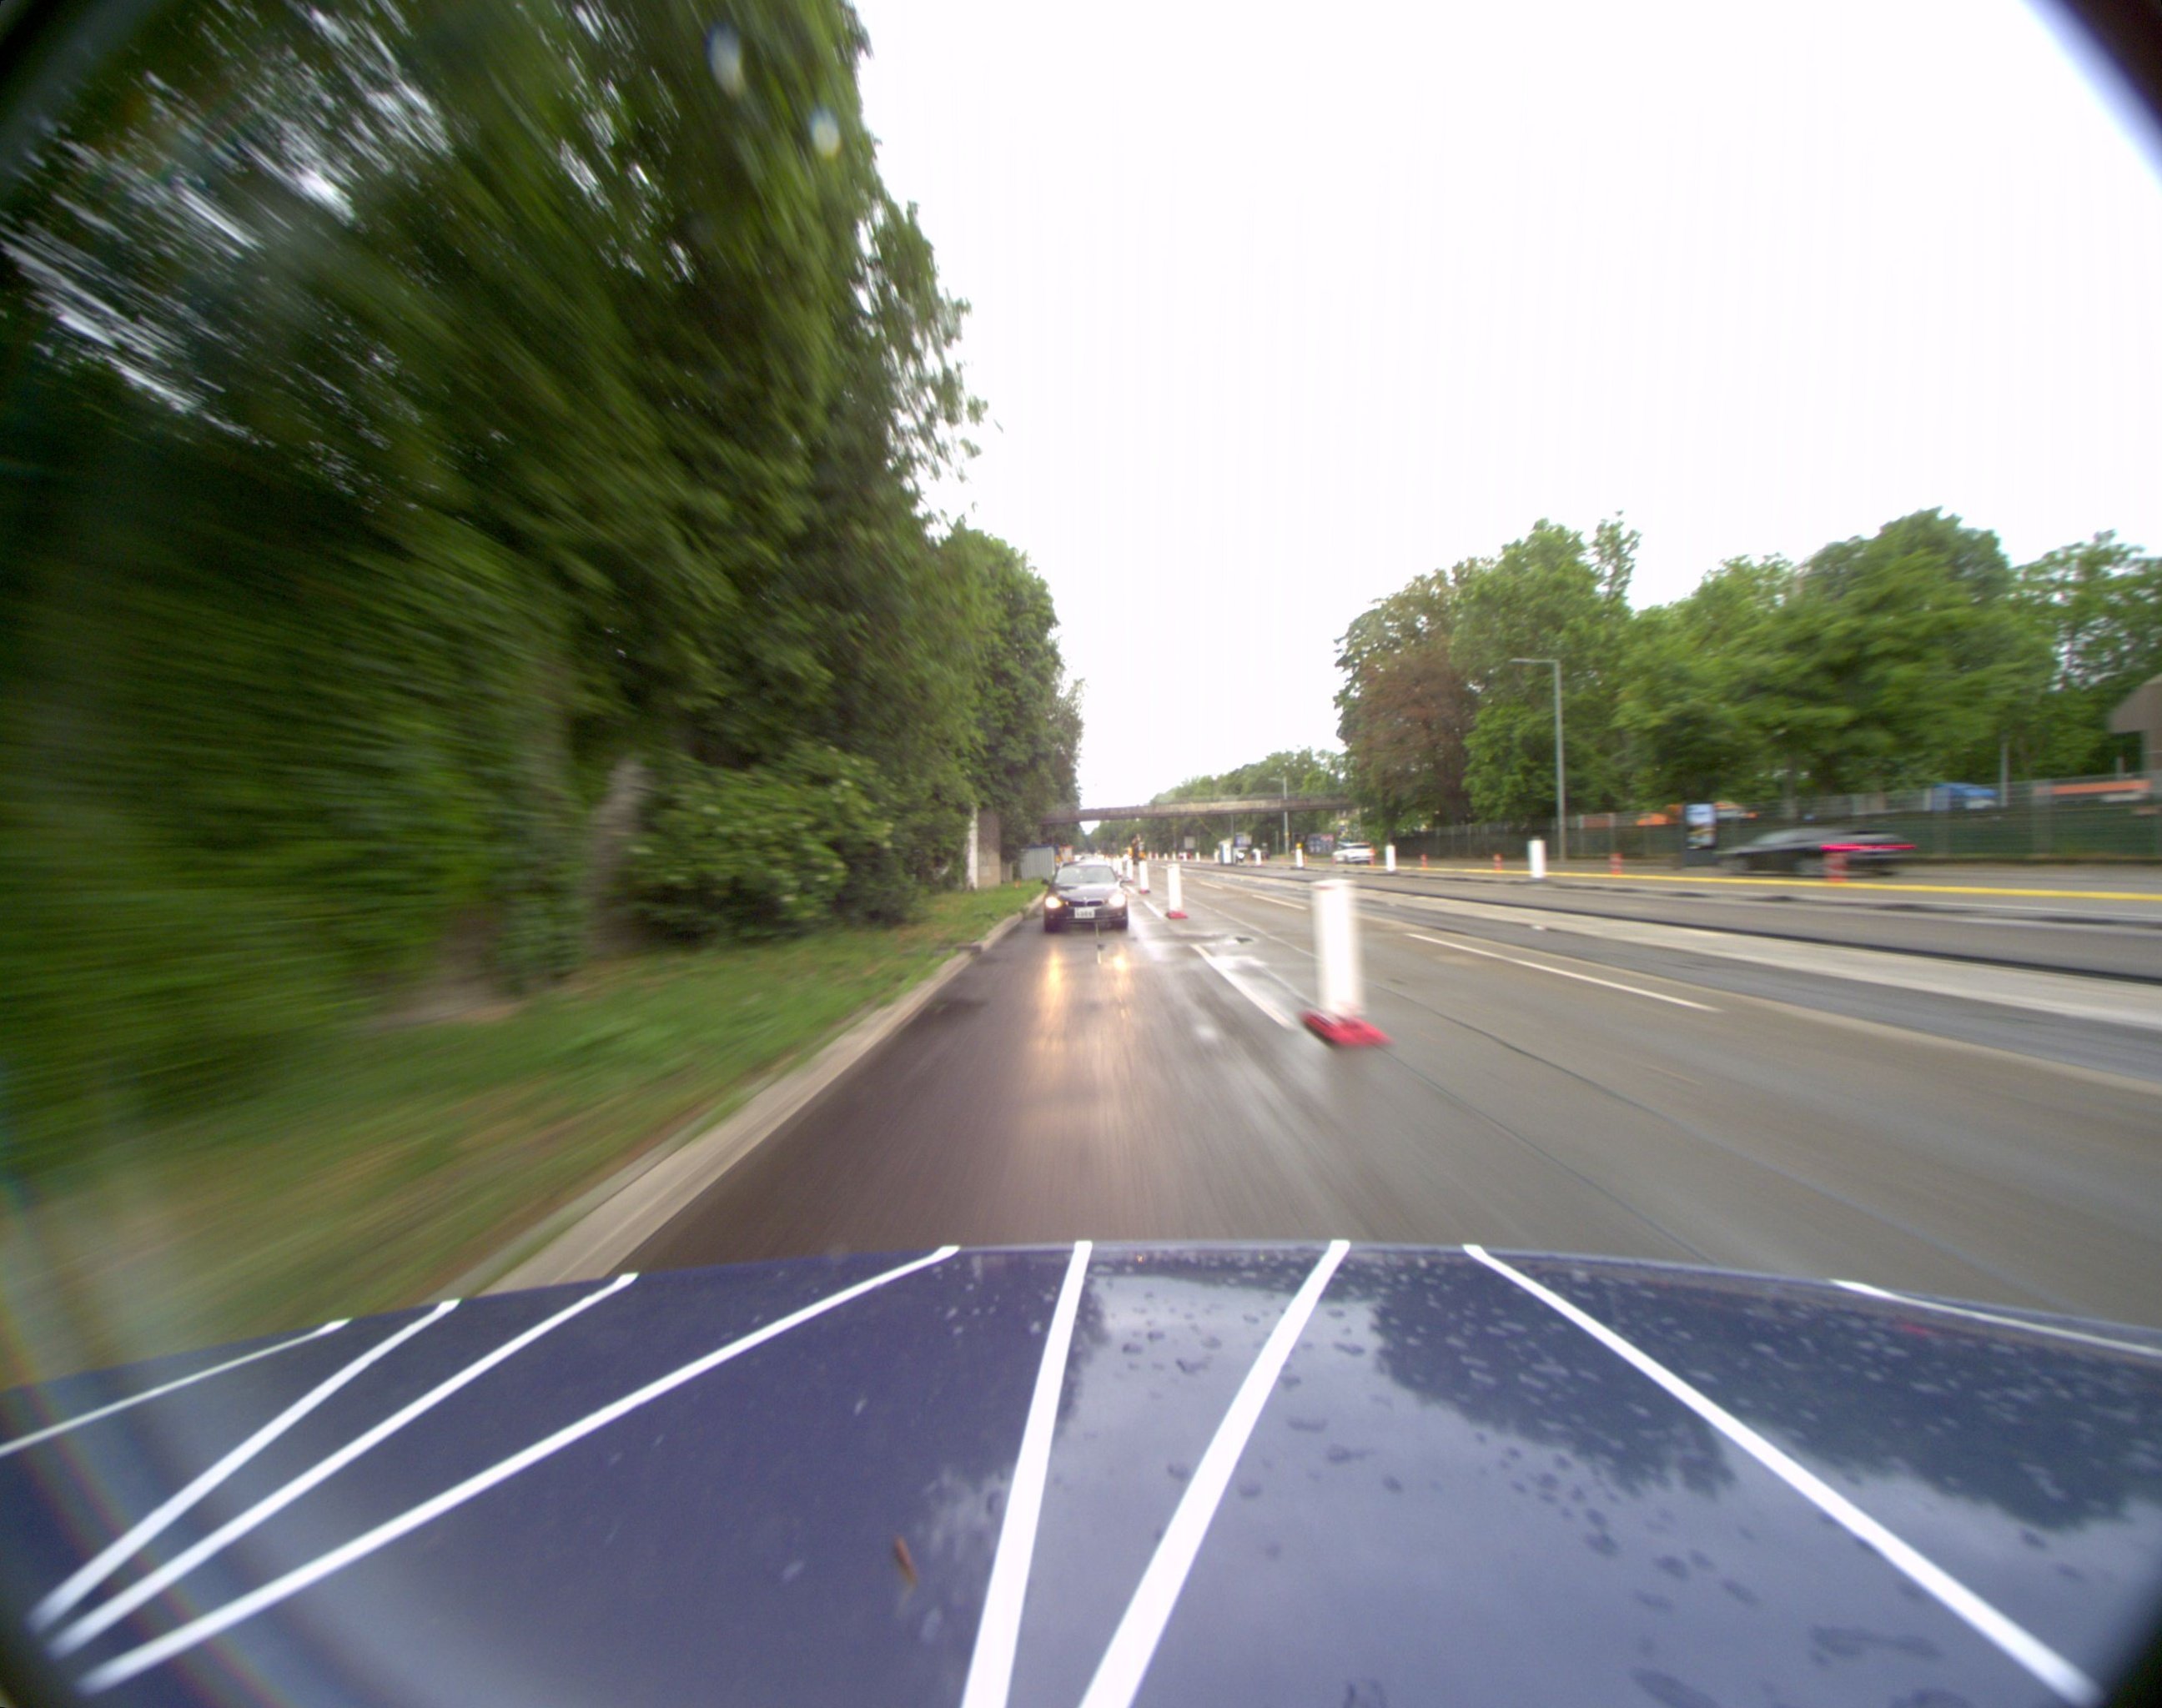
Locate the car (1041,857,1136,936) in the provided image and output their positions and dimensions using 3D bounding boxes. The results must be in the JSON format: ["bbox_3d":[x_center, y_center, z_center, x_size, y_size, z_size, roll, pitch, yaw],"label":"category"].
[{"bbox_3d":[0.137,0.871,17.309,1.838,1.398,3.999,-3,1,0],"label":"car"}]

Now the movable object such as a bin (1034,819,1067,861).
[{"bbox_3d":[-2.986,-1.420,76.209,2.889,3.918,6.104,-3,1,0],"label":"movable object such as a bin"}]

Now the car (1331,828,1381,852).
[{"bbox_3d":[19.325,-0.976,53.596,1.998,1.504,4.265,-3,1,1],"label":"car"}]

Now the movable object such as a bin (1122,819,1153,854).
[{"bbox_3d":[7.921,-2.458,108.034,3.526,4.496,10.068,-3,1,1],"label":"movable object such as a bin"}]

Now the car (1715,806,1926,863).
[{"bbox_3d":[21.409,-0.534,22.294,1.998,1.421,4.264,-3,1,0],"label":"car"}]

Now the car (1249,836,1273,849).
[{"bbox_3d":[22.640,-1.487,95.820,1.998,1.509,4.304,-3,1,1],"label":"car"}]

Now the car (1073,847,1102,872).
[{"bbox_3d":[0.487,0.375,57.088,1.998,1.651,4.228,-3,1,1],"label":"car"}]
